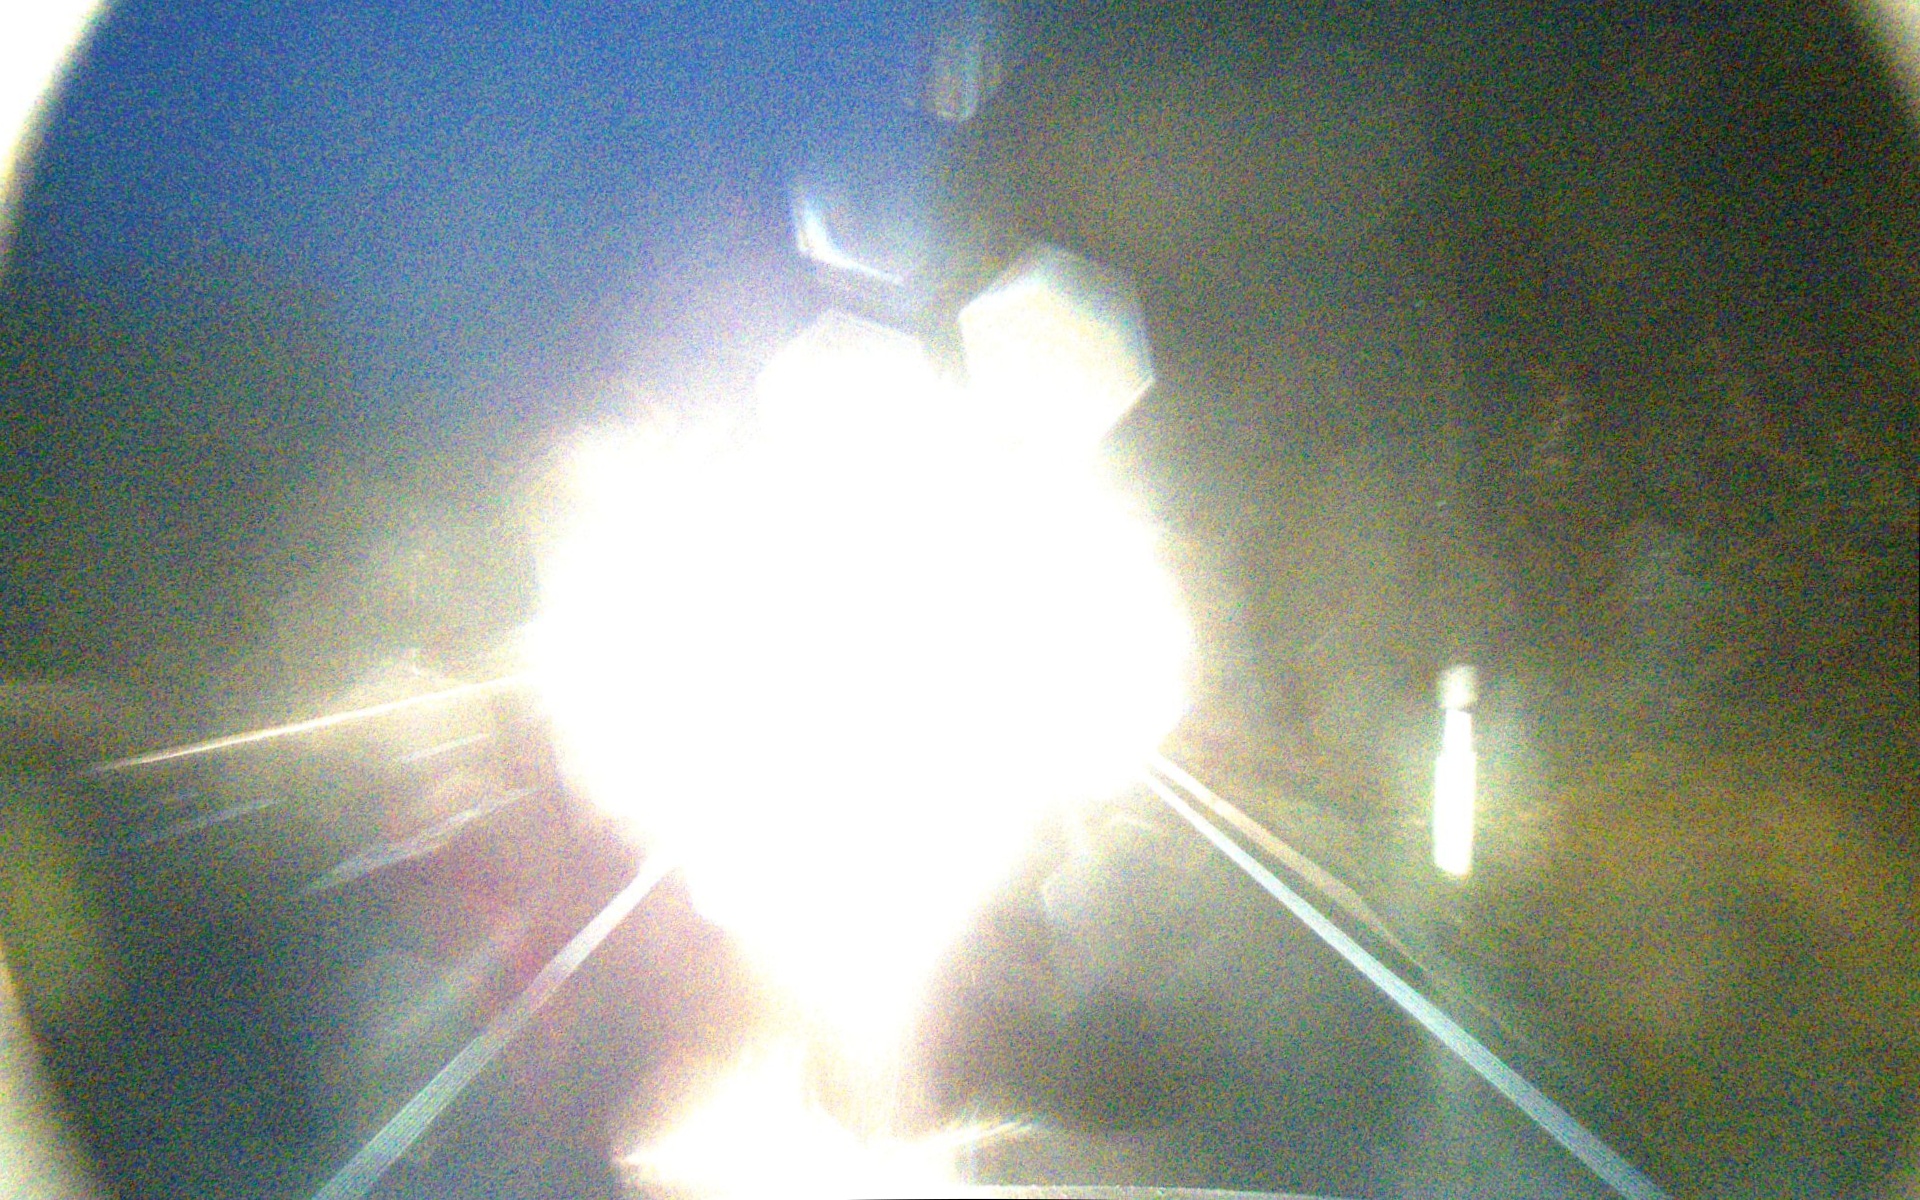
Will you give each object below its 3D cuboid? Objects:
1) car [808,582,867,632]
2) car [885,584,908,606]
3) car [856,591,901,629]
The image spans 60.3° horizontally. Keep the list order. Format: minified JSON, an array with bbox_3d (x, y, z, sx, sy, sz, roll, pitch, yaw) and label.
[{"bbox_3d":[-4.381,0.230,59.733,1.850,1.700,4.000,-1,1,-1],"label":"car"},{"bbox_3d":[-4.624,-0.365,120.646,1.666,1.493,4.040,-1,1,-2],"label":"car"},{"bbox_3d":[-3.685,0.421,75.280,1.850,1.614,4.000,-1,1,-1],"label":"car"}]
